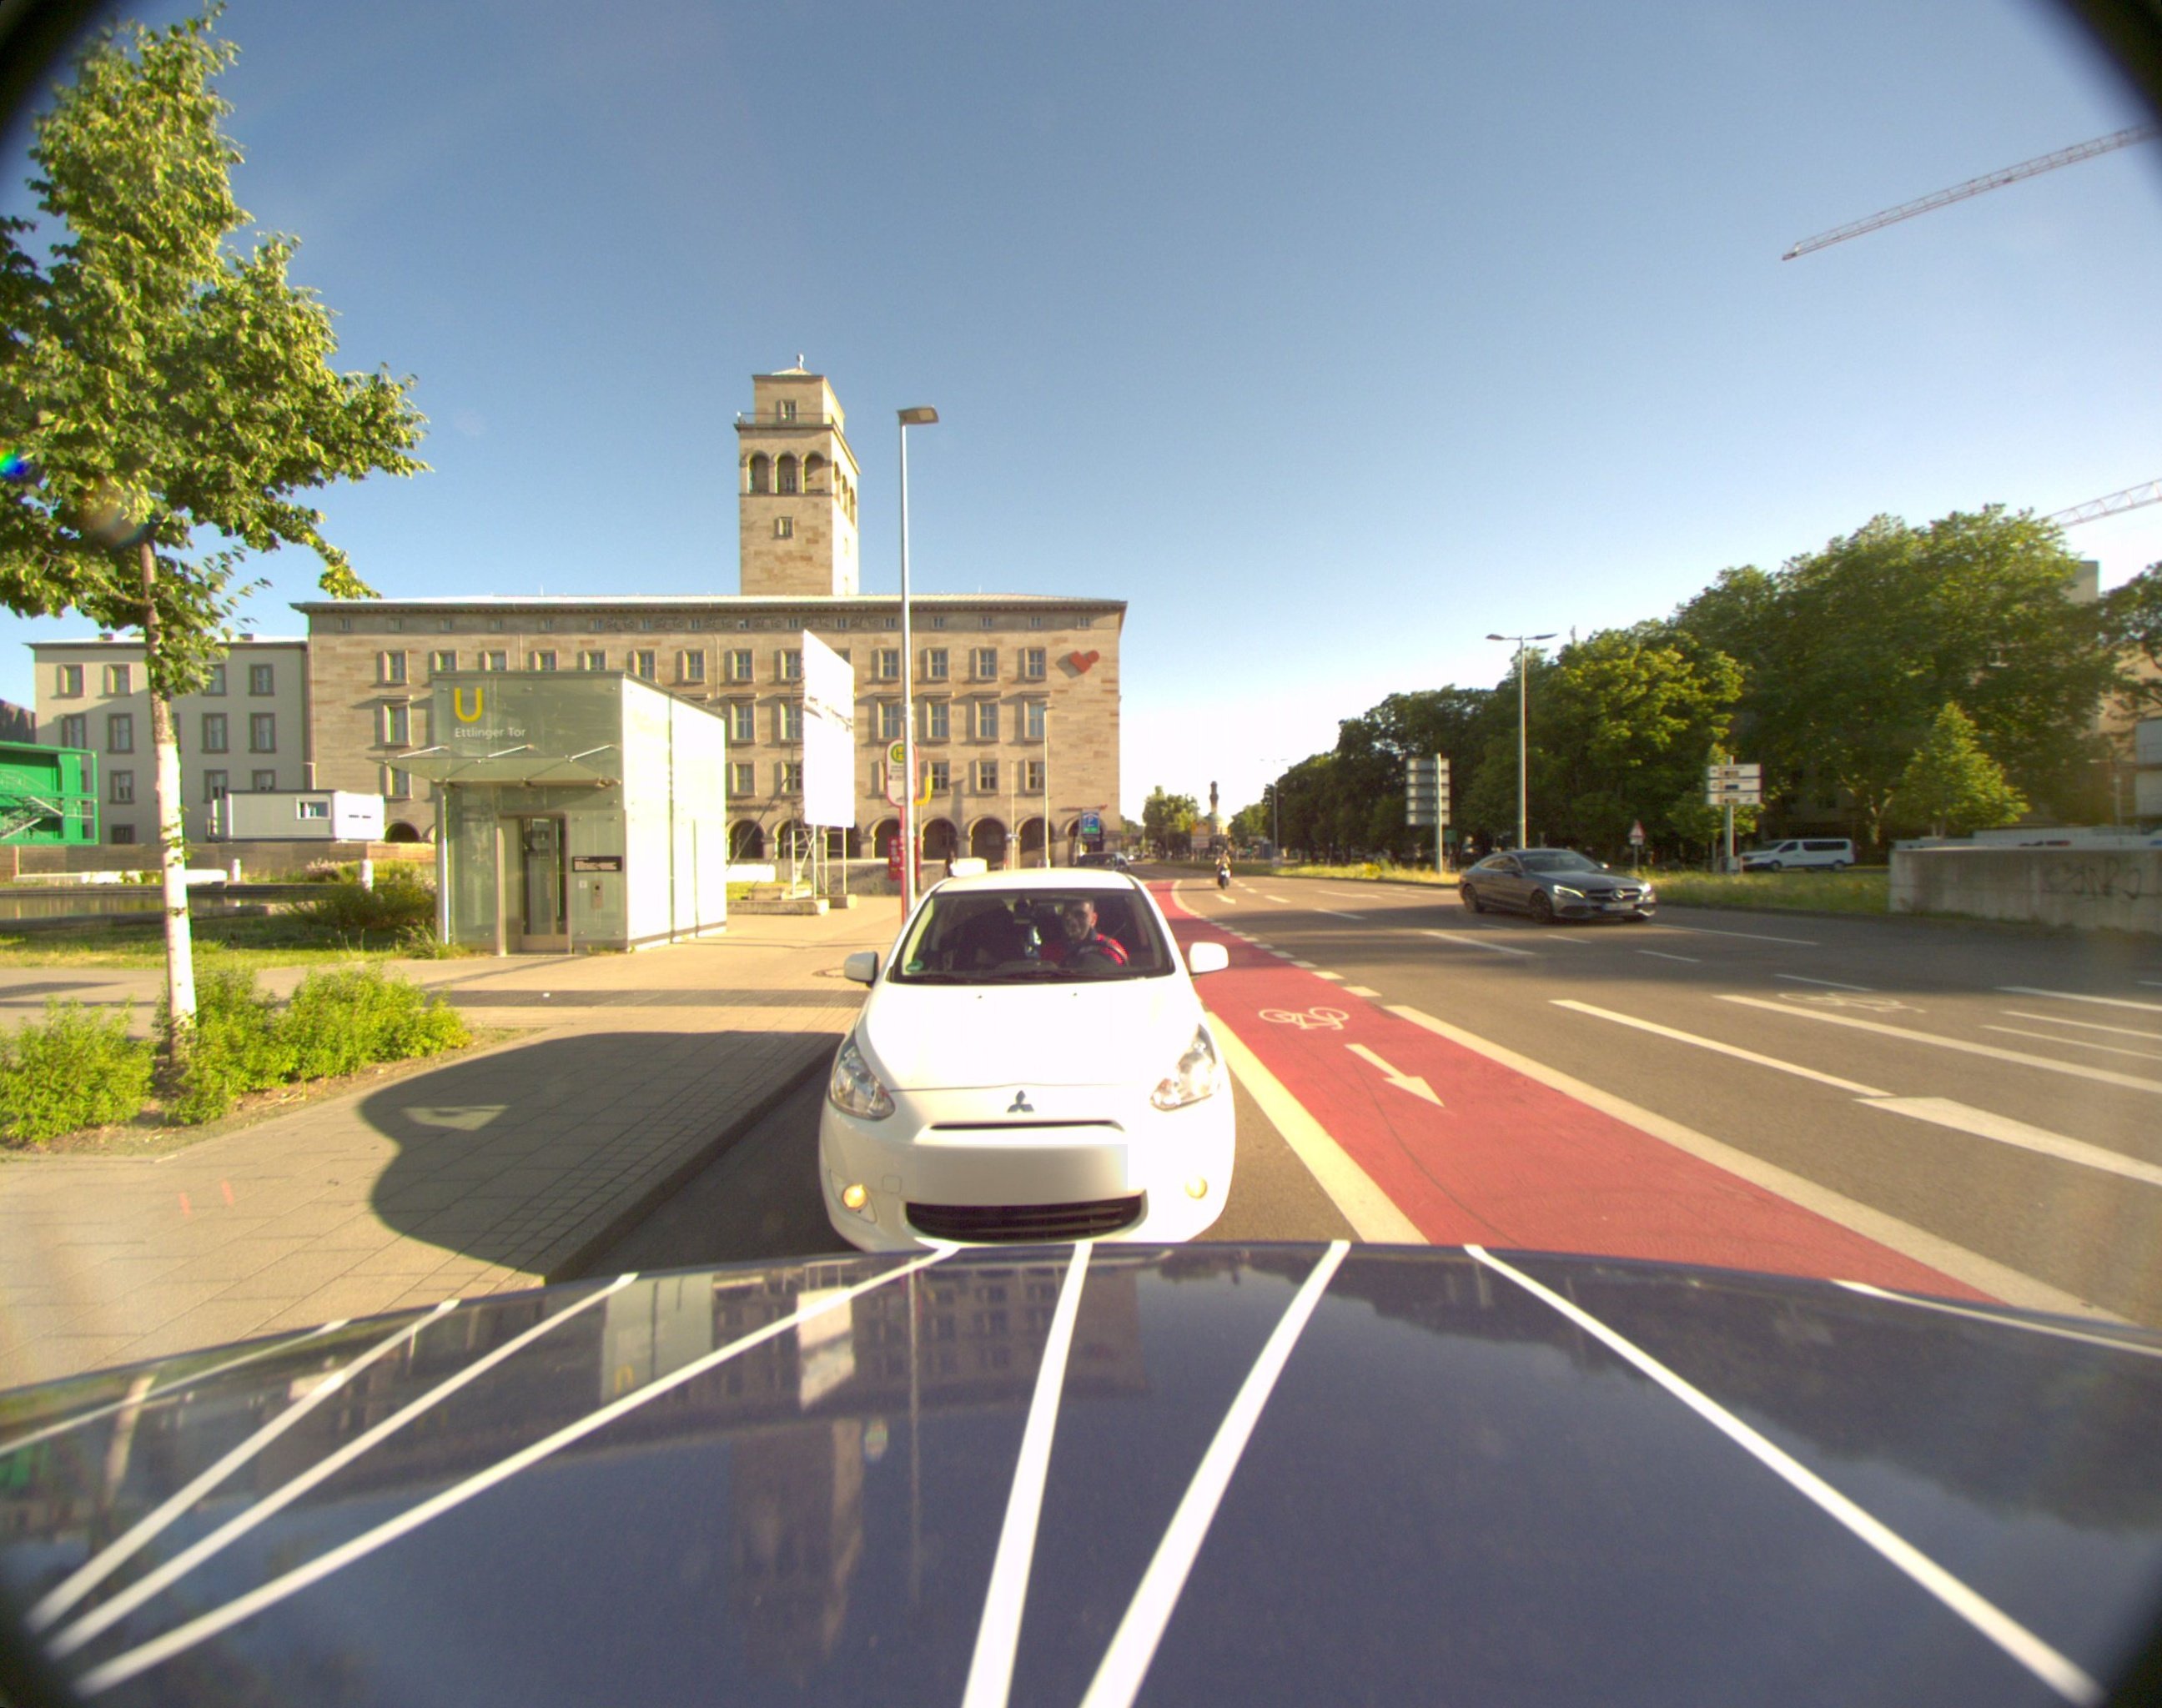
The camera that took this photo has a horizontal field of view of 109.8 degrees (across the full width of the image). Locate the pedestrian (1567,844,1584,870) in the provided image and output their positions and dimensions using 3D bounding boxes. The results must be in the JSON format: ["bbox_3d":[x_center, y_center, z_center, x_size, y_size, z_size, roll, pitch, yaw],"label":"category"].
[{"bbox_3d":[32.584,0.212,50.072,0.665,1.715,0.762,0,1,1],"label":"pedestrian"}]

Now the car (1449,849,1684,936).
[{"bbox_3d":[9.325,0.641,15.147,1.998,1.398,4.489,-2,0,4],"label":"car"}]

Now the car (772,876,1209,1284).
[{"bbox_3d":[-0.247,0.960,4.923,1.678,1.440,3.890,-2,0,3],"label":"car"}]

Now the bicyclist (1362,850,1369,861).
[{"bbox_3d":[32.134,0.192,85.825,0.610,1.274,0.715,-1,1,-1],"label":"bicyclist"}]

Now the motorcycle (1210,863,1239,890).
[{"bbox_3d":[5.959,0.922,31.659,0.974,1.008,2.268,-2,0,6],"label":"motorcycle"}]

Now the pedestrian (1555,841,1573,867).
[{"bbox_3d":[31.798,-0.016,50.008,0.707,1.715,0.762,-1,1,1],"label":"pedestrian"}]

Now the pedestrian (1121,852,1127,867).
[{"bbox_3d":[5.167,0.661,91.796,0.704,1.843,0.828,-1,1,0],"label":"pedestrian"}]

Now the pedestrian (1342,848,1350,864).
[{"bbox_3d":[32.279,0.239,92.518,0.628,1.837,0.925,-1,1,-1],"label":"pedestrian"}]

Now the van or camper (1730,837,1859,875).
[{"bbox_3d":[42.258,0.111,45.086,5.649,2.002,1.948,-2,1,2],"label":"van or camper"}]

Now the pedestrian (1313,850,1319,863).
[{"bbox_3d":[32.450,0.308,104.977,0.568,1.837,0.734,-1,1,-1],"label":"pedestrian"}]

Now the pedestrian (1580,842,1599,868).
[{"bbox_3d":[33.554,0.055,50.128,0.707,1.715,0.762,-1,1,1],"label":"pedestrian"}]

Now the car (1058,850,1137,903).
[{"bbox_3d":[0.692,0.736,27.138,1.996,1.709,4.330,0,0,13],"label":"car"}]

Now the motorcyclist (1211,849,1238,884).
[{"bbox_3d":[5.929,0.518,31.462,0.974,1.405,1.059,-2,1,6],"label":"motorcyclist"}]

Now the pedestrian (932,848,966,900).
[{"bbox_3d":[-4.648,0.694,26.837,0.942,1.776,1.072,-1,1,1],"label":"pedestrian"}]

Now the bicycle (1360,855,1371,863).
[{"bbox_3d":[32.137,0.553,85.833,0.610,0.838,1.745,-1,0,-1],"label":"bicycle"}]
